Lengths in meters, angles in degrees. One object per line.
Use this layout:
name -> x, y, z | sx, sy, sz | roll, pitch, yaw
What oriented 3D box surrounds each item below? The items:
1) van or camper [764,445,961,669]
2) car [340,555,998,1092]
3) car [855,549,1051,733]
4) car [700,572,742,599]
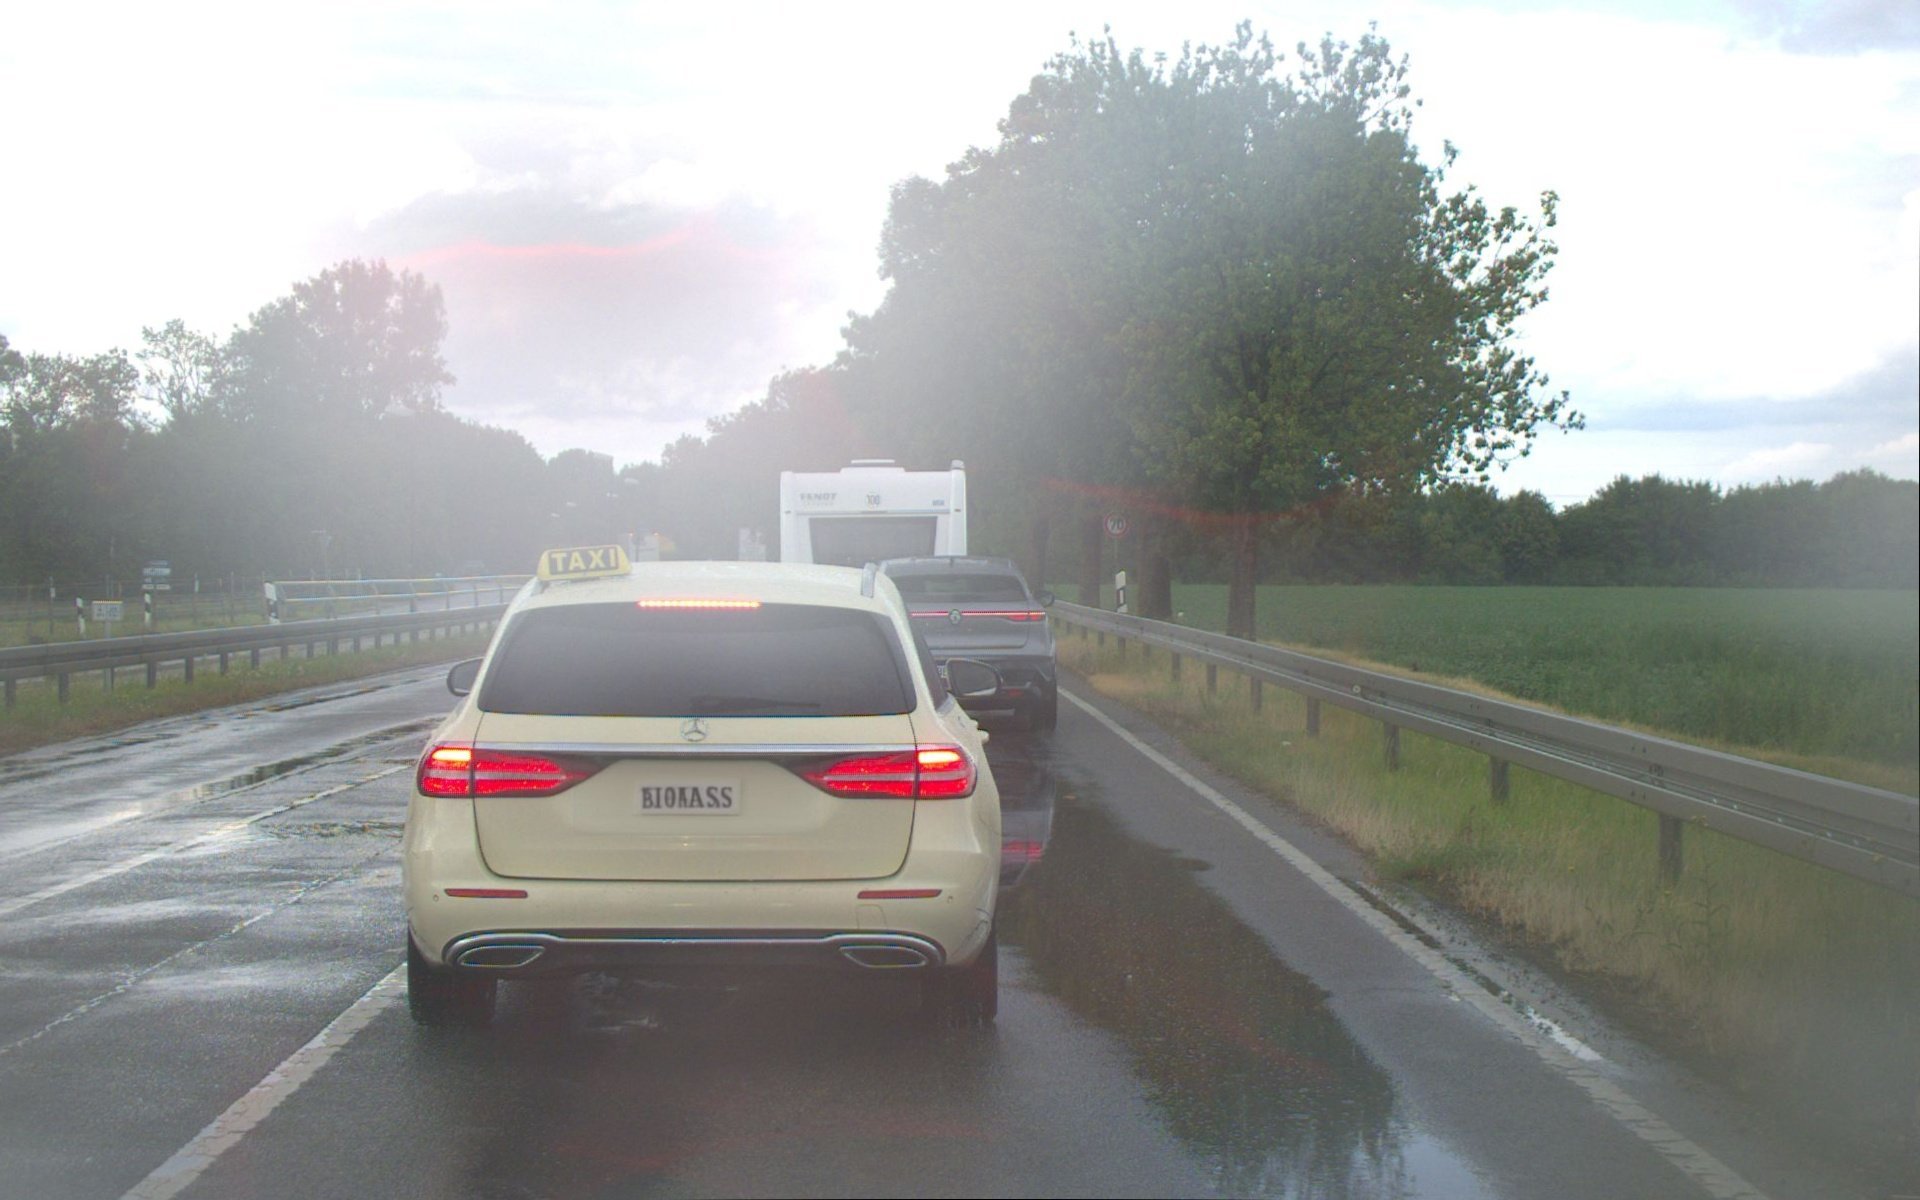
van or camper -> -1.188, -0.571, 44.022 | 2.350, 2.671, 5.769 | 0, 1, 0
car -> -0.793, 0.599, 11.686 | 1.825, 1.480, 4.145 | 1, 1, 1
car -> -0.074, 0.316, 30.597 | 1.627, 1.524, 3.933 | 0, 1, 0
car -> -11.368, -0.688, 163.884 | 1.758, 1.265, 4.000 | 0, 1, 0
